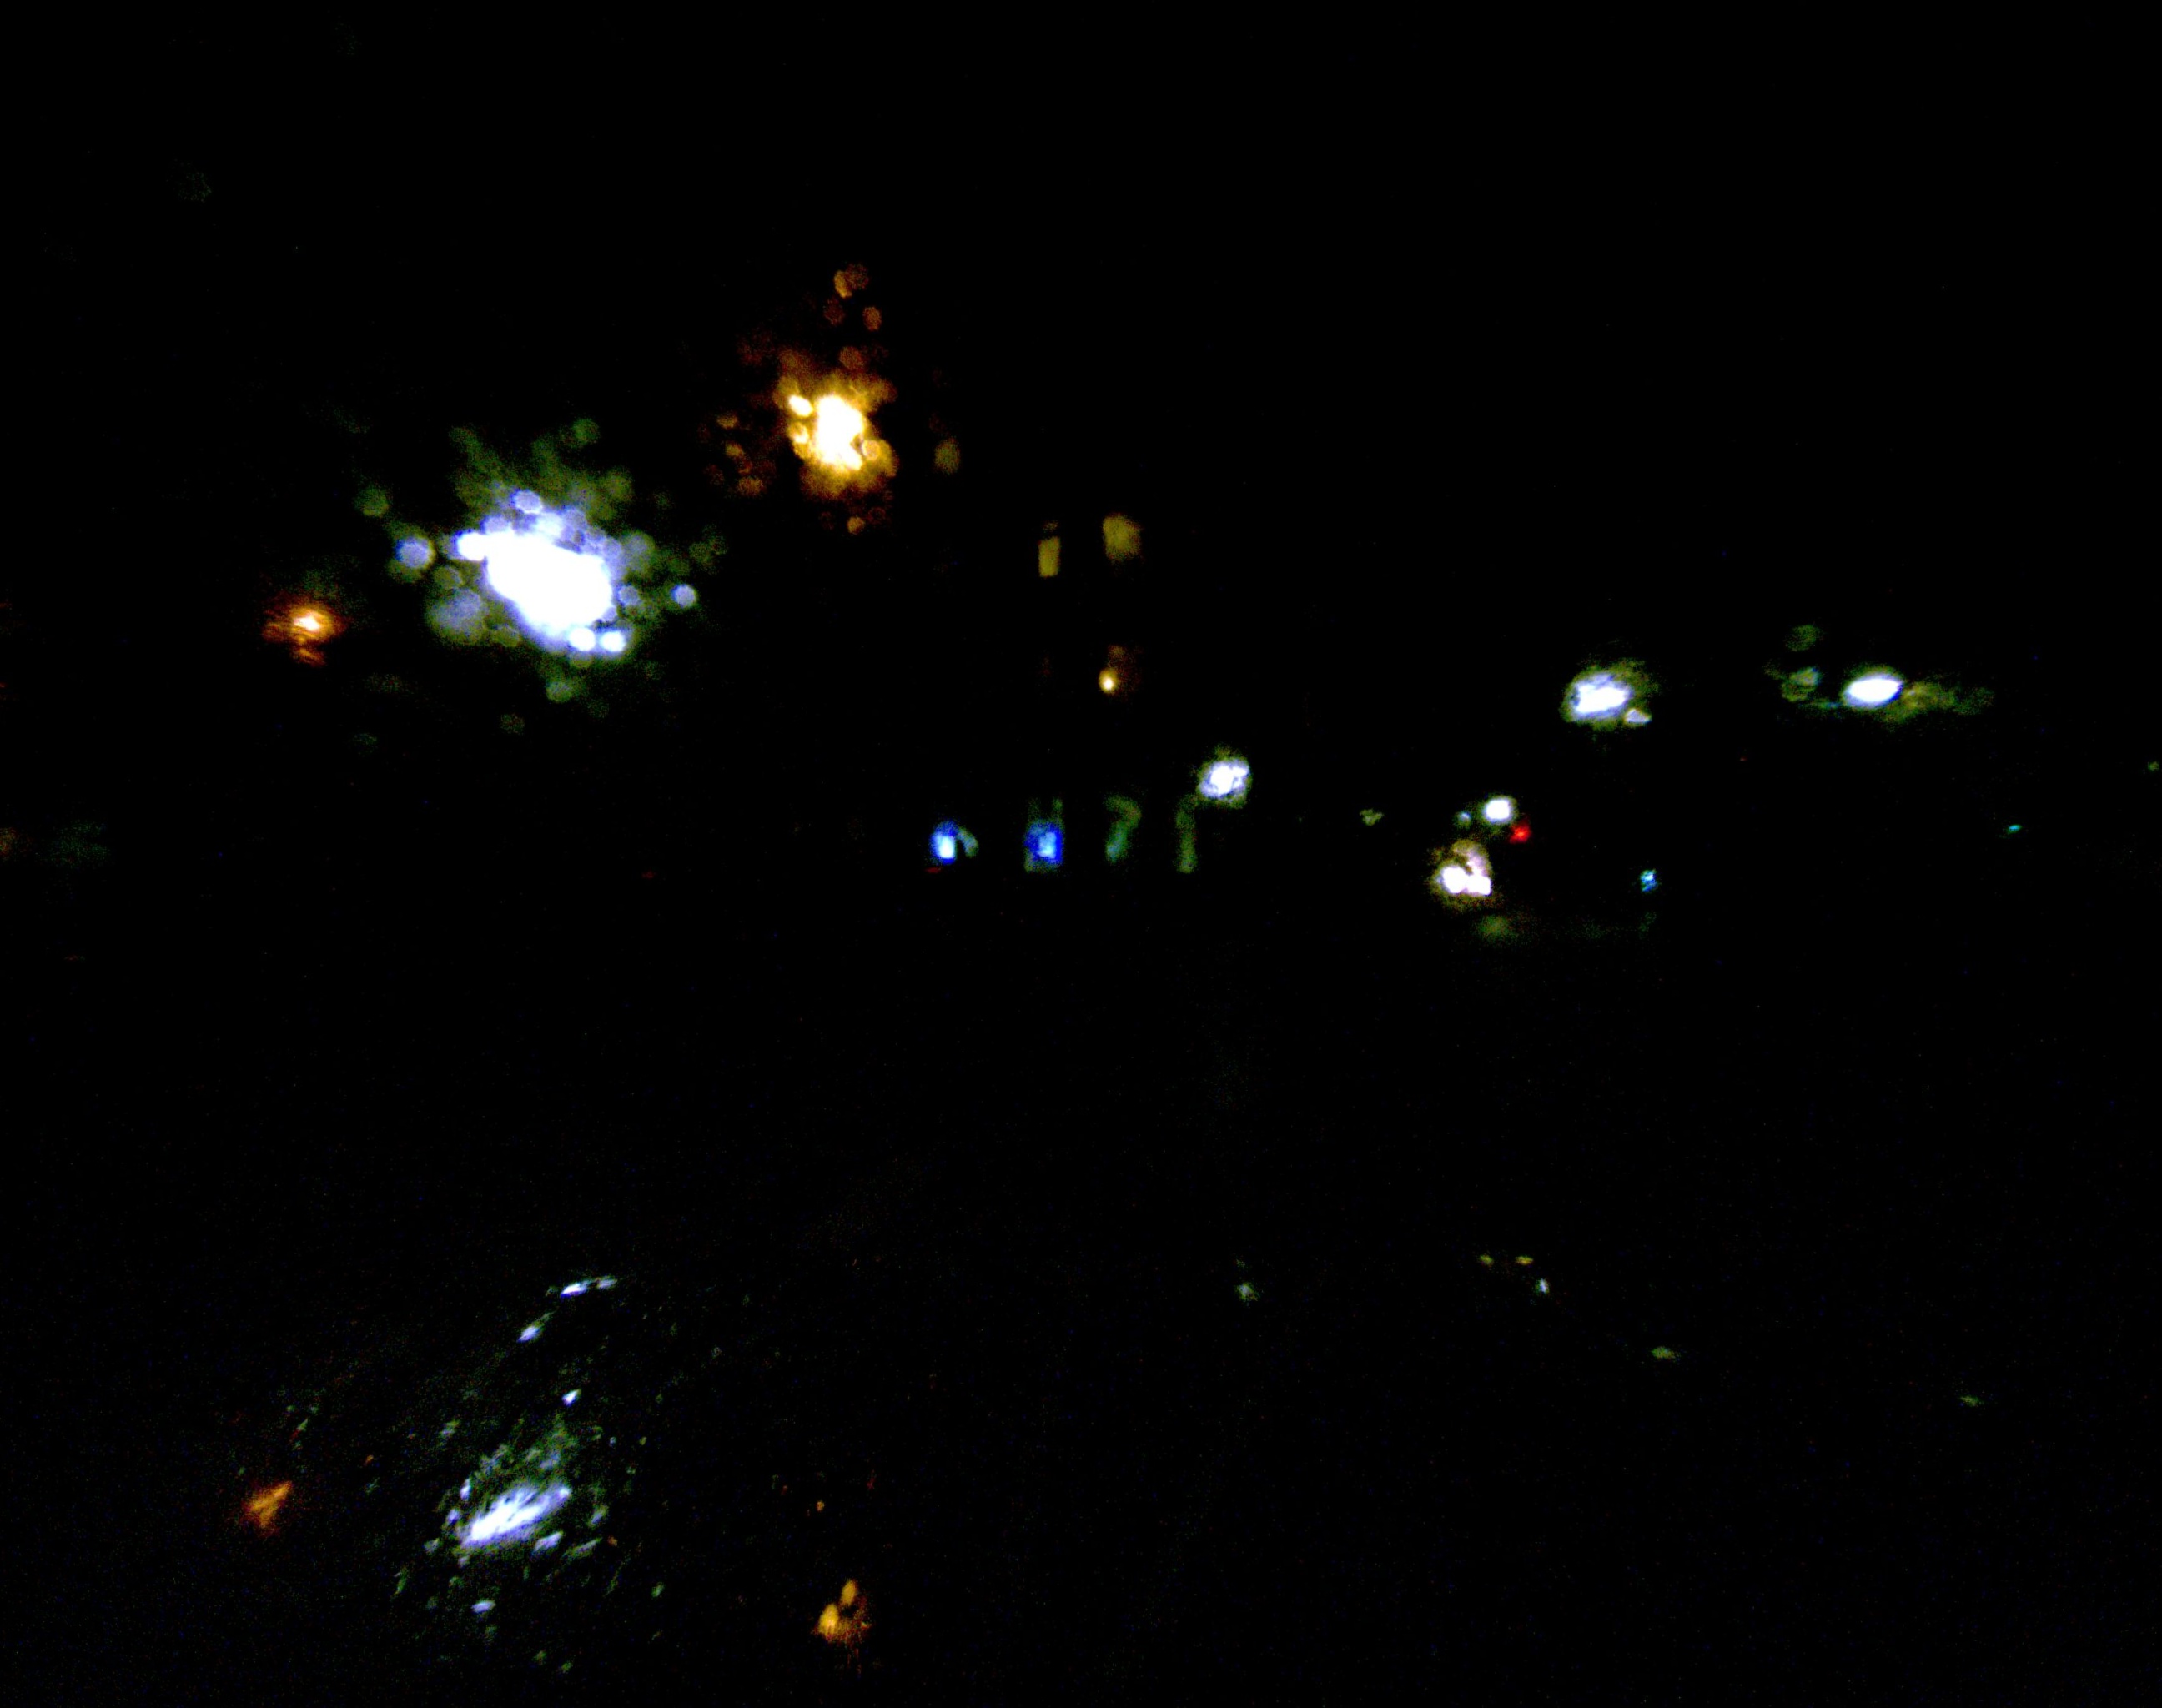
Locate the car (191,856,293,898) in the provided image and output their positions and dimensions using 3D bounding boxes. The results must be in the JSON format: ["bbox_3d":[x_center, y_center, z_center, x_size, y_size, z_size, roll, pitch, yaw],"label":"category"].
[{"bbox_3d":[-35.283,0.952,31.948,3.940,1.600,1.752,-1,1,26],"label":"car"}]

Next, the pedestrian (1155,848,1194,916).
[{"bbox_3d":[2.323,0.685,18.953,0.873,1.628,0.634,-2,1,3],"label":"pedestrian"}]

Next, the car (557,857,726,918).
[{"bbox_3d":[-12.641,0.905,21.862,4.485,1.584,1.892,0,2,24],"label":"car"}]

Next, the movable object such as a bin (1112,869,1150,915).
[{"bbox_3d":[1.288,0.971,19.581,0.922,1.109,0.634,-2,1,4],"label":"movable object such as a bin"}]

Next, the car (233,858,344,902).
[{"bbox_3d":[-31.327,0.988,30.022,4.196,1.586,1.769,0,2,26],"label":"car"}]

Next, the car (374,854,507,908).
[{"bbox_3d":[-22.198,0.889,26.320,4.275,1.694,1.884,0,2,26],"label":"car"}]

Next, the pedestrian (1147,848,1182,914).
[{"bbox_3d":[2.150,0.686,19.638,0.842,1.628,0.634,-2,1,4],"label":"pedestrian"}]

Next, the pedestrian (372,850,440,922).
[{"bbox_3d":[-17.020,0.797,19.177,0.688,1.753,1.044,-2,-1,16],"label":"pedestrian"}]

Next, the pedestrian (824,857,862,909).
[{"bbox_3d":[-6.958,0.842,22.197,0.766,1.485,0.635,-2,1,26],"label":"pedestrian"}]
